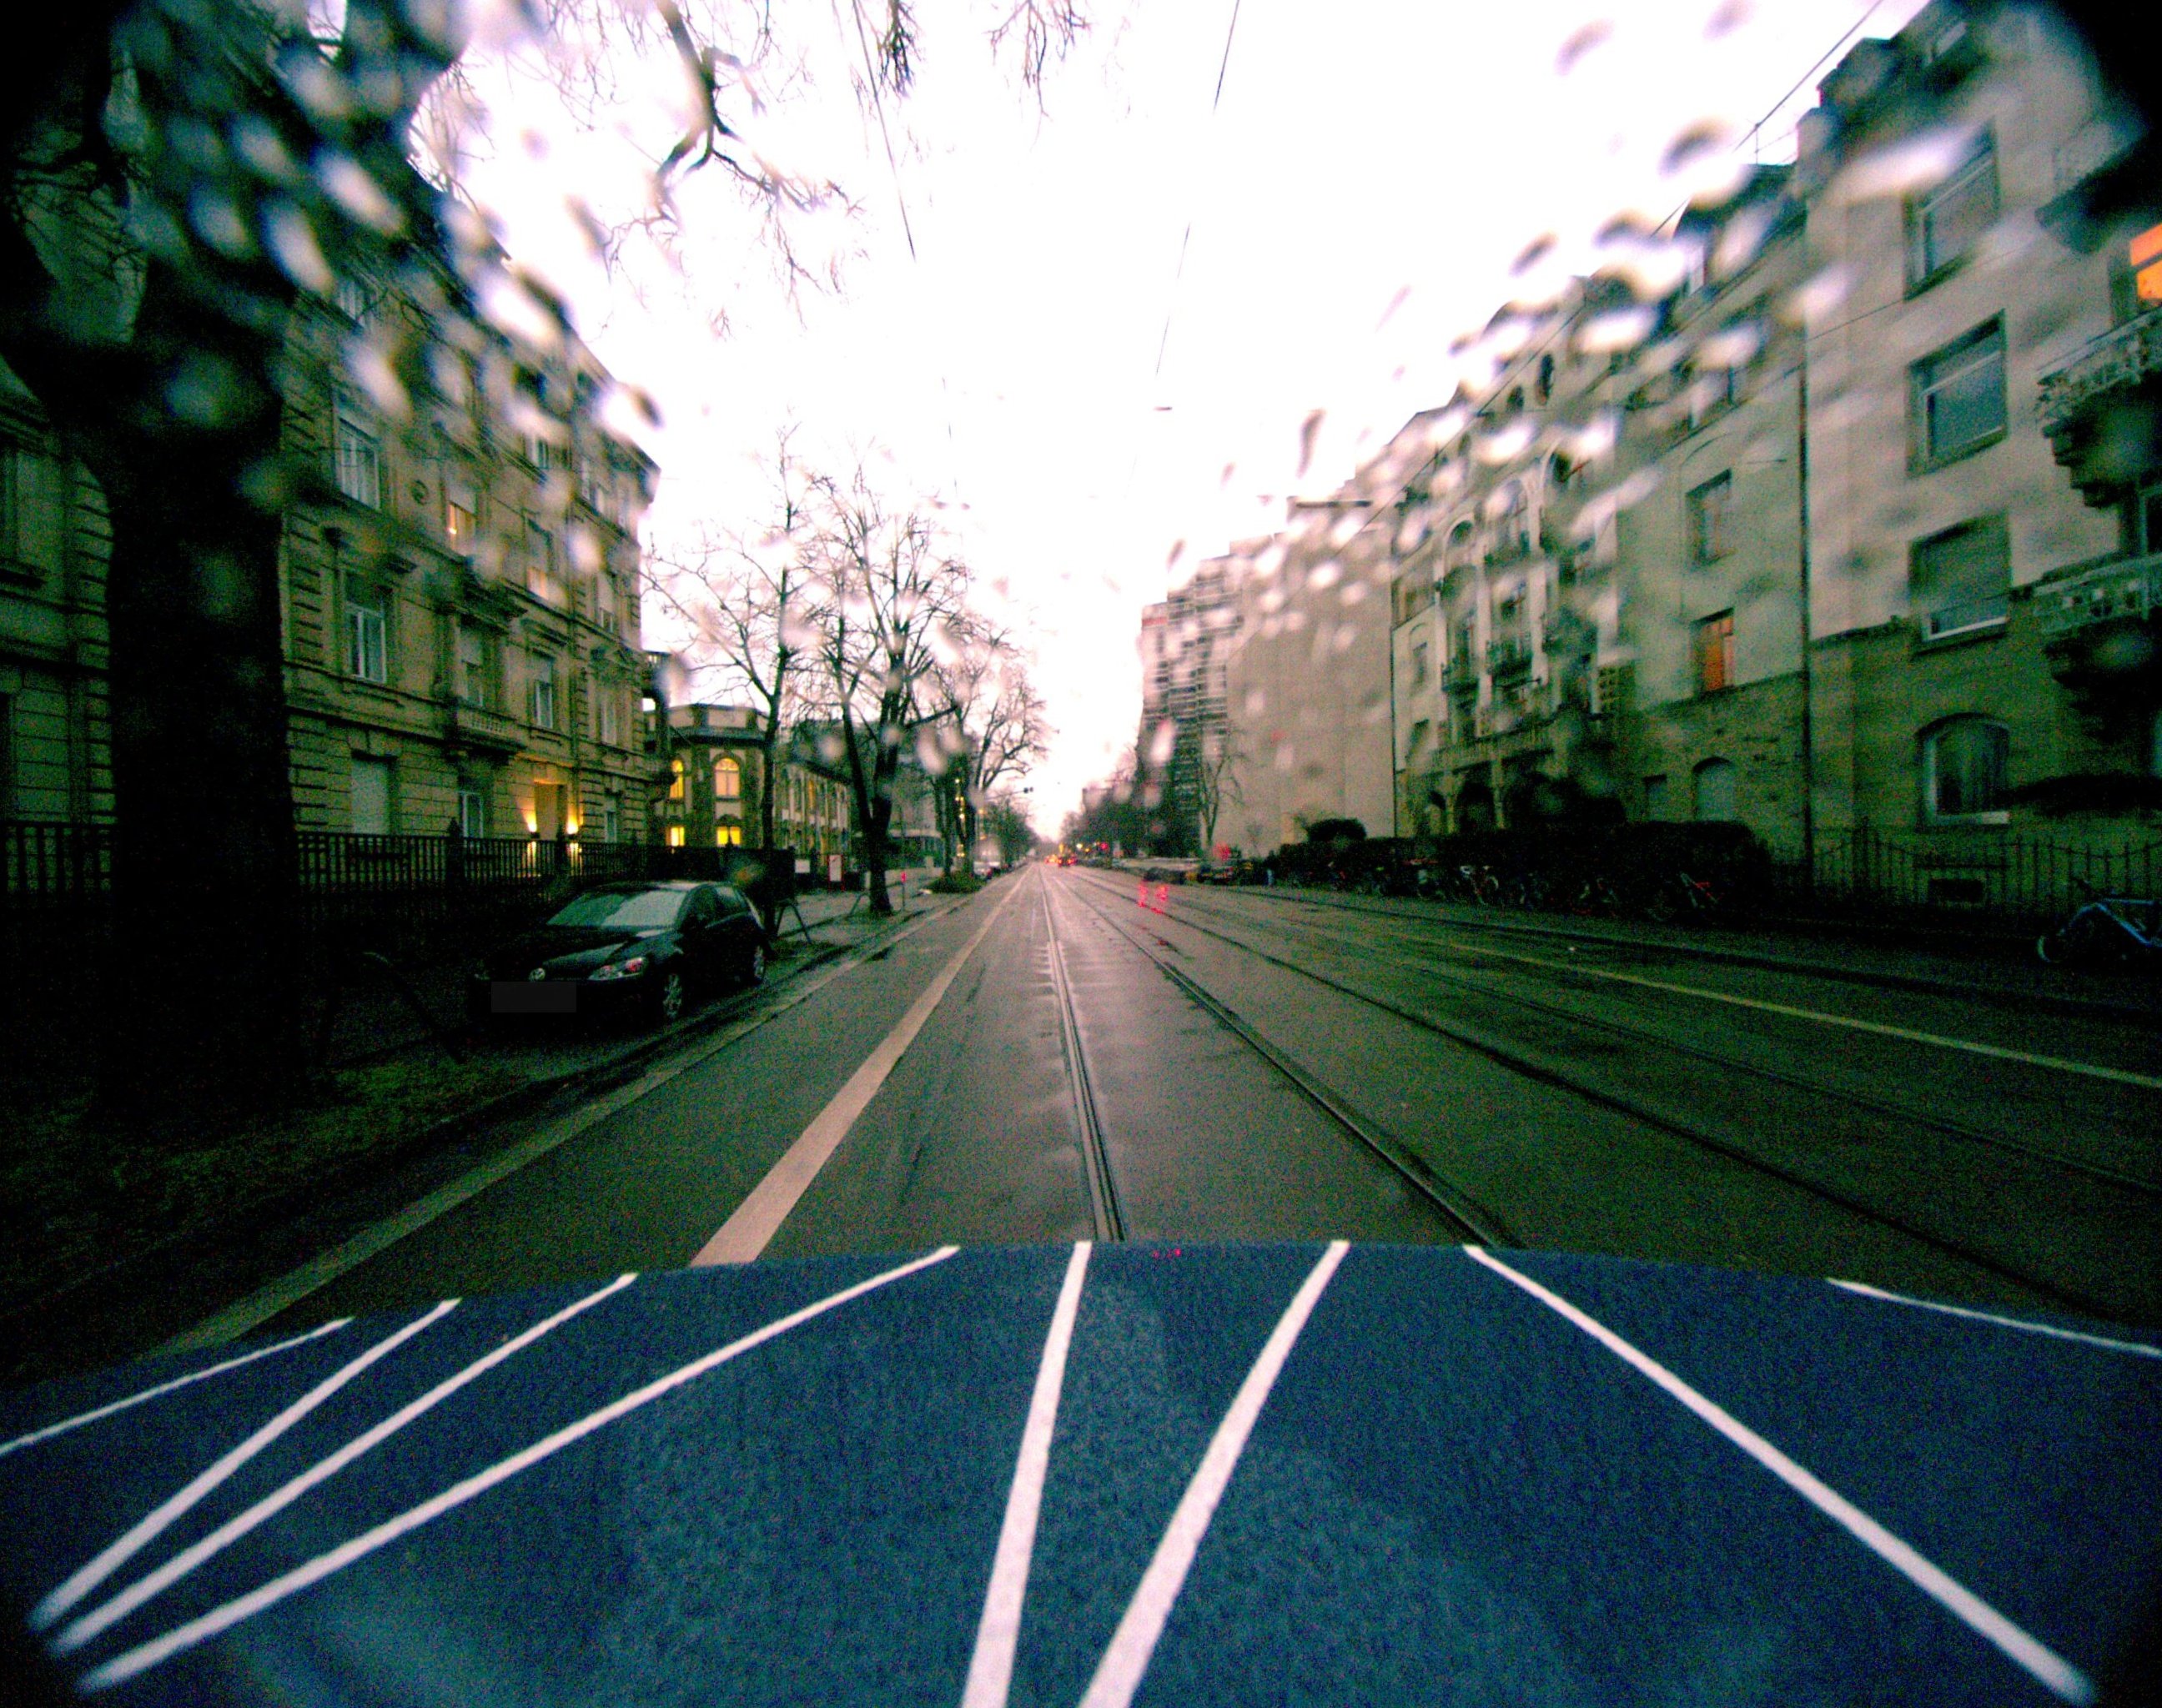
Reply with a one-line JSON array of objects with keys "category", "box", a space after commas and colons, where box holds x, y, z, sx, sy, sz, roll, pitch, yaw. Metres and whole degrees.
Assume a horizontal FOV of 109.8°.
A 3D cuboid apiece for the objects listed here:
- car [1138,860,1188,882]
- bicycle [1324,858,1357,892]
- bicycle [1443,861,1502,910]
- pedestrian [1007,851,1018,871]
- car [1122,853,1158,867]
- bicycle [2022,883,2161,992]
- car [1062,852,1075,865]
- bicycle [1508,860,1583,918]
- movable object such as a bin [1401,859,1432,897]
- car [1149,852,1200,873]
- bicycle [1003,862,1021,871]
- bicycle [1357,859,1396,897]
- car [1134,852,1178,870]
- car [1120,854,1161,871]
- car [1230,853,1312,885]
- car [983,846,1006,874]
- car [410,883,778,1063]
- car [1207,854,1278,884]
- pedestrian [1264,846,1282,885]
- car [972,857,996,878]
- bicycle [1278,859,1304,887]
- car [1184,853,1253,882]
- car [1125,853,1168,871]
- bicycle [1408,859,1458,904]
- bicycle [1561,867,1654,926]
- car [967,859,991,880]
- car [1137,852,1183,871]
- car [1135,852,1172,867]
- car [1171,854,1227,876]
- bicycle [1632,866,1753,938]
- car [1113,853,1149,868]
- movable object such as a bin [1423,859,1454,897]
[{"category": "car", "box": [4.861, 0.975, 44.696, 1.707, 1.245, 3.673, -1, 0, 27]}, {"category": "bicycle", "box": [9.616, 0.768, 28.181, 0.625, 1.205, 1.662, -1, 0, -1]}, {"category": "bicycle", "box": [10.050, 0.786, 19.581, 0.625, 1.157, 1.662, -1, 0, -1]}, {"category": "pedestrian", "box": [-7.858, 0.817, 86.894, 1.118, 2.246, 0.952, -2, 1, -6]}, {"category": "car", "box": [6.942, 0.711, 88.790, 4.007, 1.586, 1.864, -2, 0, -40]}, {"category": "bicycle", "box": [10.761, 0.827, 7.601, 0.625, 0.997, 1.662, -1, 0, -1]}, {"category": "car", "box": [-2.163, 0.728, 131.779, 2.238, 2.002, 4.460, -2, 1, -1]}, {"category": "bicycle", "box": [10.262, 0.739, 16.860, 0.625, 1.205, 1.662, -1, 0, -1]}, {"category": "movable object such as a bin", "box": [10.586, 0.744, 23.973, 0.659, 1.157, 0.674, -1, 0, 0]}, {"category": "car", "box": [7.707, 0.682, 62.456, 4.007, 1.586, 1.864, -2, 0, -40]}, {"category": "bicycle", "box": [-7.892, 1.404, 86.902, 1.918, 0.986, 0.858, -2, 1, -5]}, {"category": "bicycle", "box": [9.891, 0.791, 25.473, 0.625, 1.205, 1.662, -1, 0, -1]}, {"category": "car", "box": [7.132, 0.644, 72.085, 4.007, 1.586, 1.864, -2, 0, -40]}, {"category": "car", "box": [6.078, 0.863, 77.345, 4.007, 1.586, 1.864, -2, 0, -40]}, {"category": "car", "box": [10.014, 0.755, 39.999, 4.006, 1.485, 1.865, -2, 0, -31]}, {"category": "car", "box": [-8.674, 0.594, 76.396, 2.094, 2.622, 5.446, -2, 1, -6]}, {"category": "car", "box": [-5.076, 1.119, 8.723, 1.762, 1.437, 4.156, 1, 0, -4]}, {"category": "car", "box": [9.052, 0.821, 42.389, 4.007, 1.477, 1.760, -2, 0, -40]}, {"category": "pedestrian", "box": [8.755, 0.527, 34.682, 0.574, 1.715, 0.644, -3, 2, 1]}, {"category": "car", "box": [-8.488, 1.118, 66.793, 1.999, 1.672, 3.997, -2, 1, -6]}, {"category": "bicycle", "box": [9.200, 0.832, 33.319, 0.625, 1.157, 1.662, -2, 0, -1]}, {"category": "car", "box": [8.262, 0.801, 45.500, 4.007, 1.586, 1.864, -2, 0, -40]}, {"category": "car", "box": [6.502, 0.787, 74.896, 4.007, 1.586, 1.864, -2, 0, -40]}, {"category": "bicycle", "box": [10.017, 0.763, 21.697, 0.625, 1.205, 1.662, -1, 0, -1]}, {"category": "bicycle", "box": [10.380, 0.811, 15.052, 0.625, 1.059, 1.726, -1, 0, -1]}, {"category": "car", "box": [-7.586, 1.136, 56.638, 1.628, 1.399, 3.997, -2, 1, -6]}, {"category": "car", "box": [7.186, 0.667, 68.998, 4.007, 1.586, 1.864, -2, 0, -40]}, {"category": "car", "box": [8.313, 0.624, 86.641, 4.007, 1.586, 1.864, -2, 0, -40]}, {"category": "car", "box": [8.723, 0.794, 55.980, 4.007, 1.440, 1.864, -2, 0, -40]}, {"category": "bicycle", "box": [10.461, 0.785, 13.079, 0.625, 1.119, 1.783, -1, 0, -1]}, {"category": "car", "box": [5.978, 0.788, 90.712, 4.007, 1.586, 1.864, -2, 0, -40]}, {"category": "movable object such as a bin", "box": [11.293, 0.742, 23.999, 0.625, 1.157, 0.674, -1, 0, 0]}]
